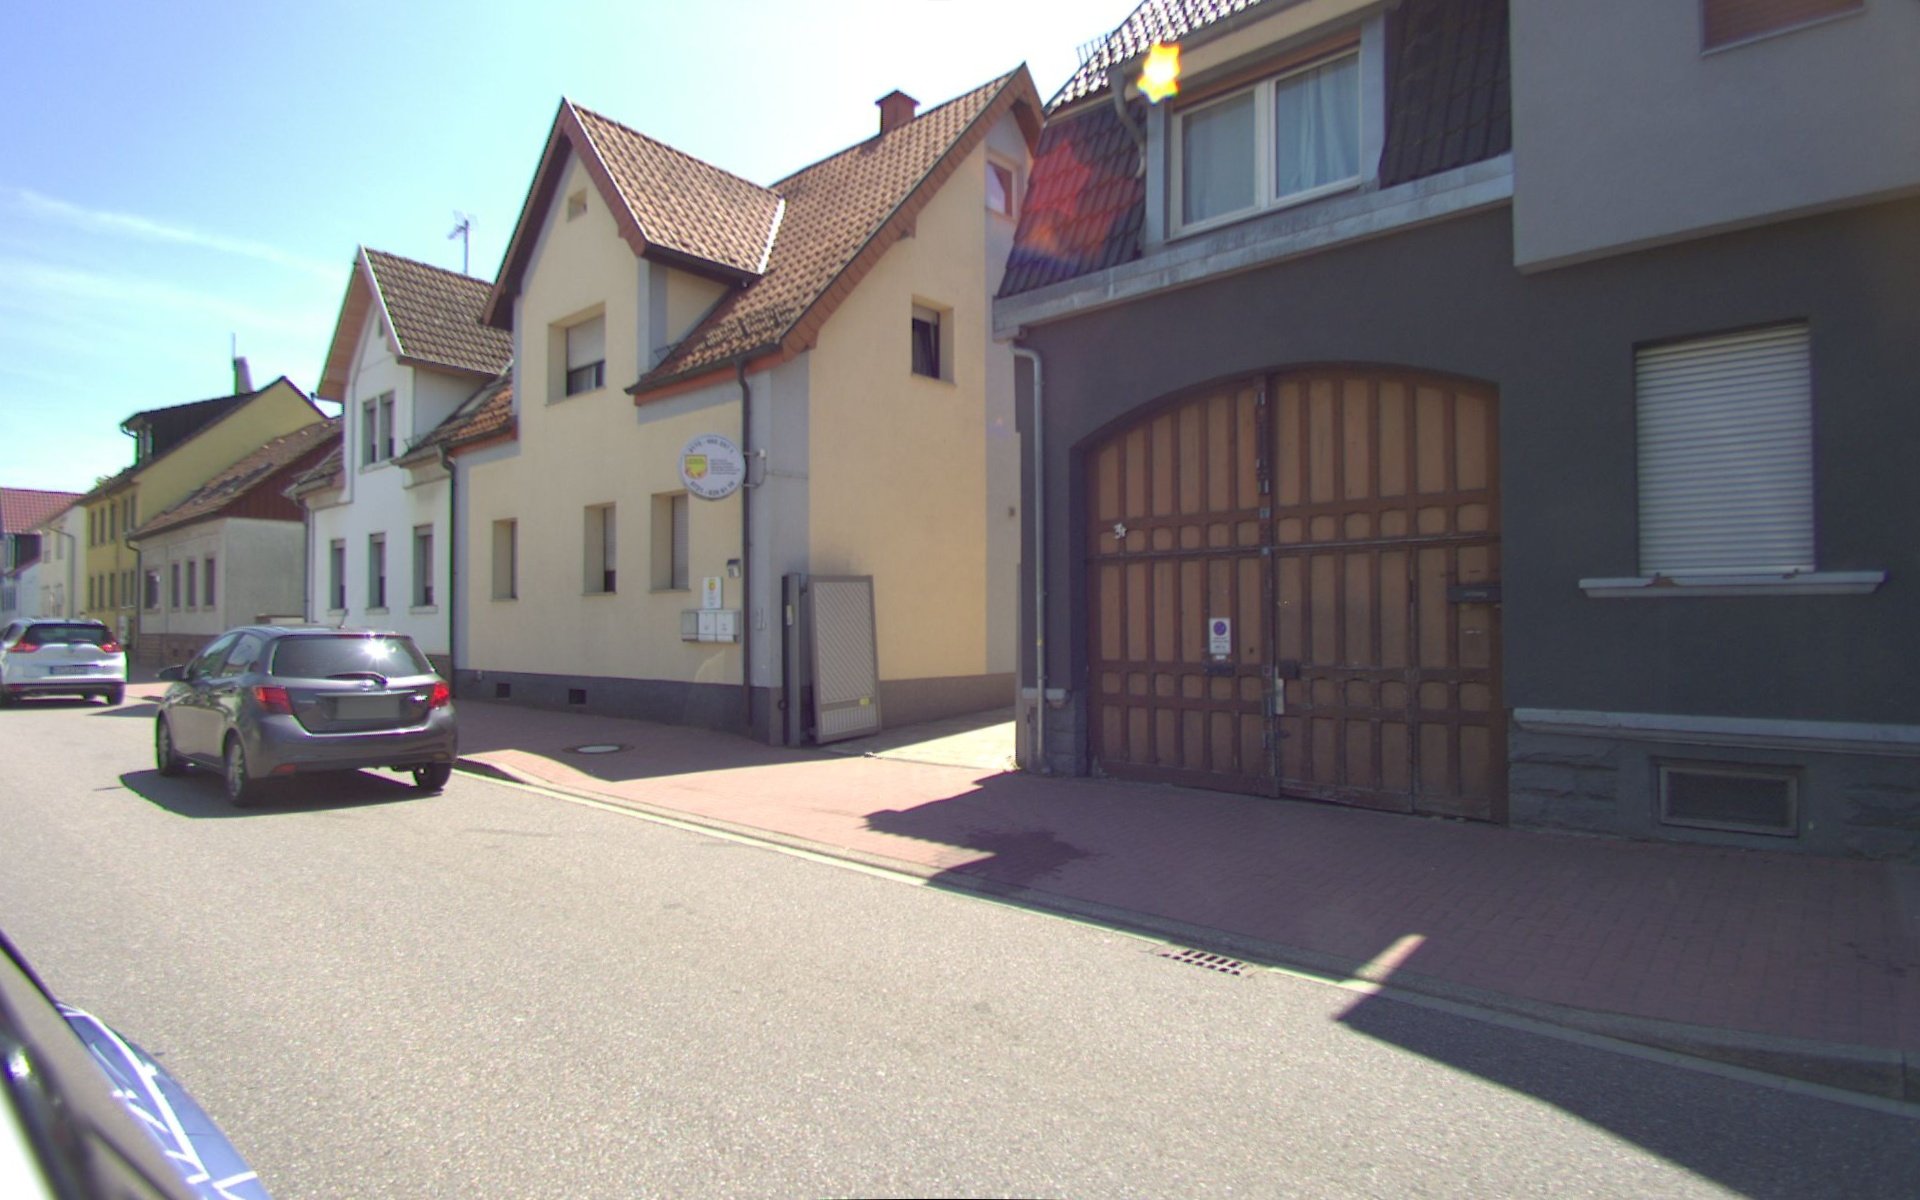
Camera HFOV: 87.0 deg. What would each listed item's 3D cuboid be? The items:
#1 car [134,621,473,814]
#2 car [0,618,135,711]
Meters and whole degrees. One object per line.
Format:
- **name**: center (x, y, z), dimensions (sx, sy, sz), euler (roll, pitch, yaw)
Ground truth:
- **car**: center (-6.357, 0.965, 9.635), dimensions (3.927, 1.470, 1.659), euler (-1, -4, 41)
- **car**: center (-17.770, 1.201, 19.683), dimensions (4.428, 1.615, 1.854), euler (-1, -4, 40)
